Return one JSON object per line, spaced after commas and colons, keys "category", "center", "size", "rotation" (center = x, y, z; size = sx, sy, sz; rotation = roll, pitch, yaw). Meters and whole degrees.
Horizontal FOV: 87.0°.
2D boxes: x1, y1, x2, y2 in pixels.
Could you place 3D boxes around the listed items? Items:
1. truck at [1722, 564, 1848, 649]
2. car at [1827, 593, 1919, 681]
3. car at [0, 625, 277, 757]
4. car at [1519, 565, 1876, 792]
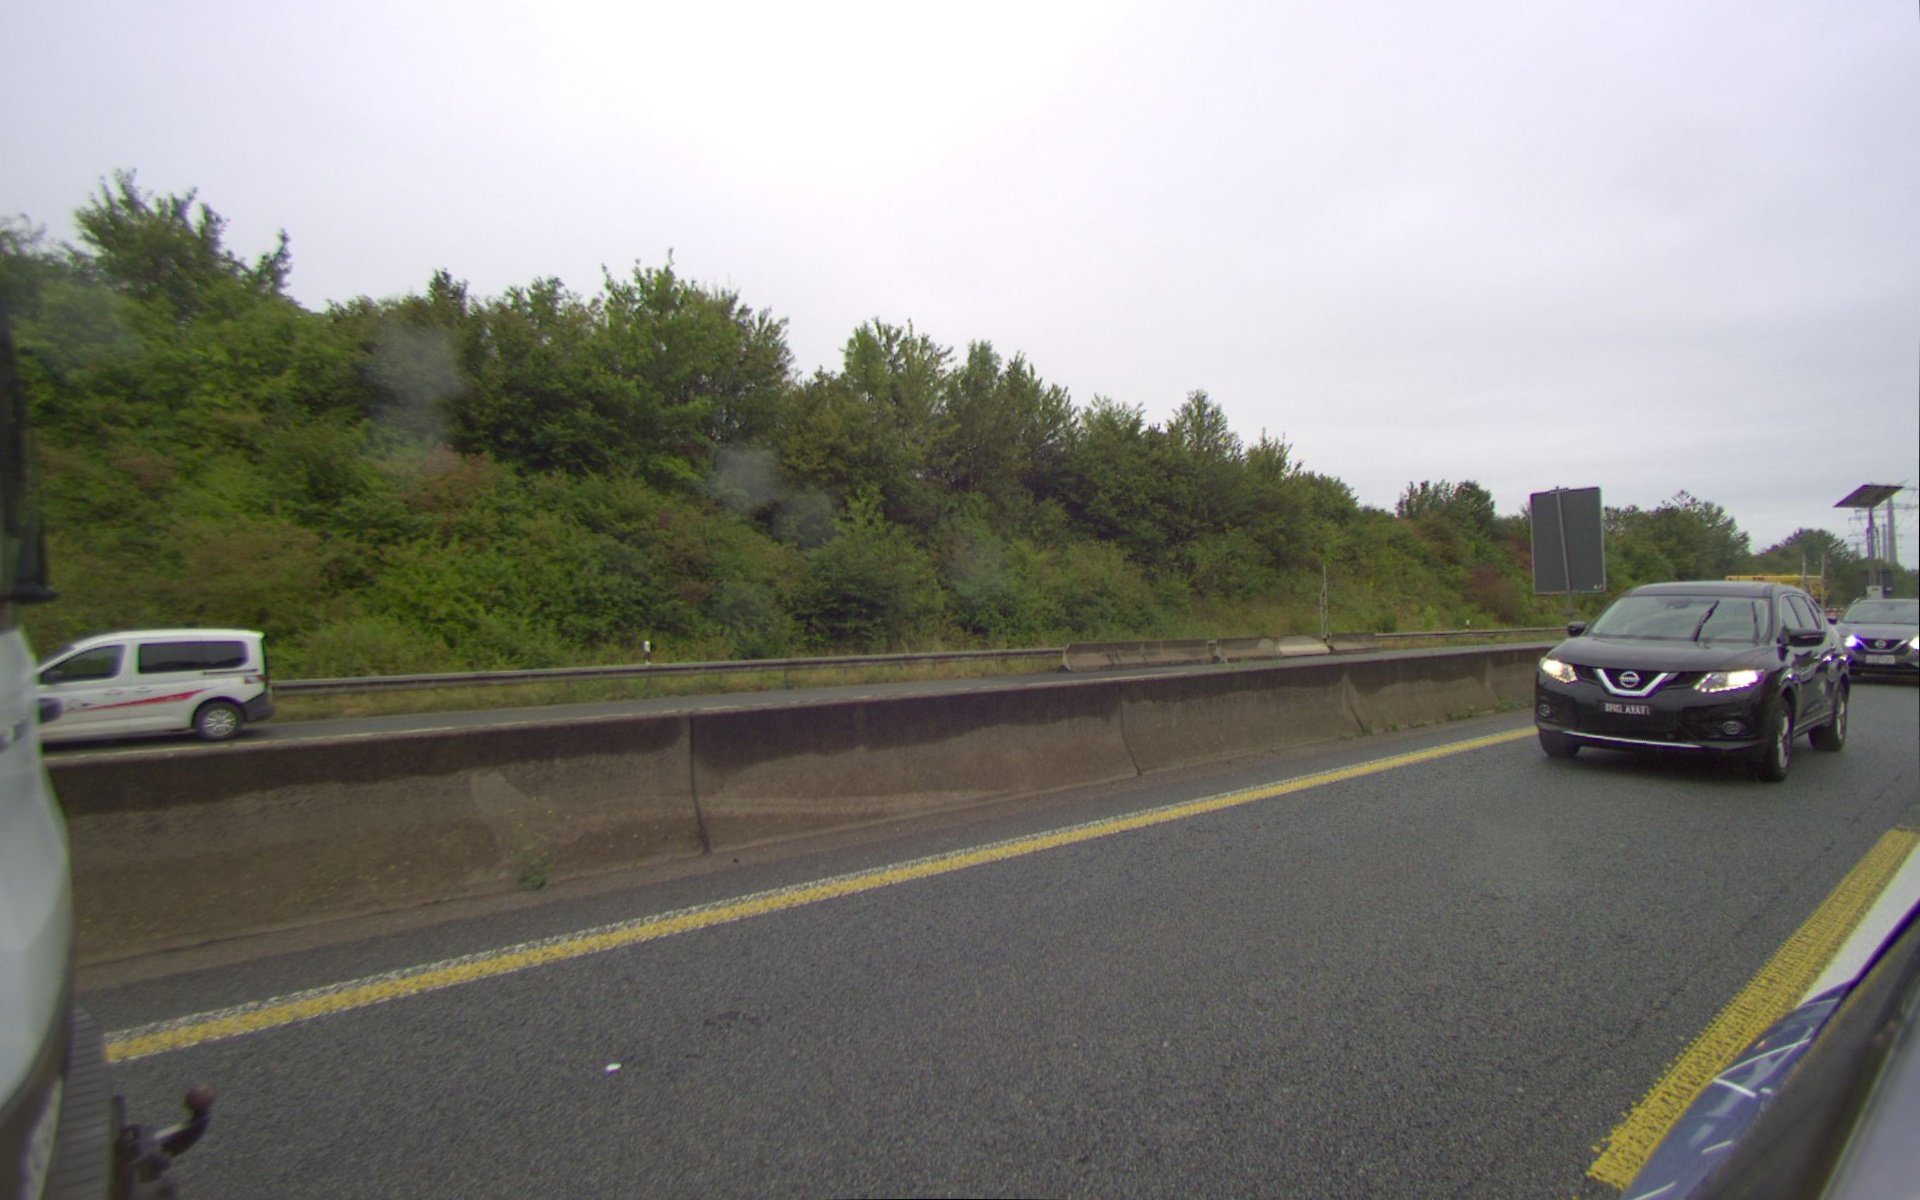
{"category": "truck", "center": [37.204, 0.205, 45.495], "size": [9.405, 3.467, 2.618], "rotation": [-1, 0, -40]}
{"category": "car", "center": [17.942, 0.626, 19.174], "size": [4.053, 1.509, 1.782], "rotation": [-1, 1, -42]}
{"category": "car", "center": [-13.605, 1.373, 16.201], "size": [4.255, 1.792, 1.731], "rotation": [-1, 1, -42]}
{"category": "car", "center": [7.284, 0.558, 9.798], "size": [4.561, 1.696, 1.892], "rotation": [-1, 1, -42]}
